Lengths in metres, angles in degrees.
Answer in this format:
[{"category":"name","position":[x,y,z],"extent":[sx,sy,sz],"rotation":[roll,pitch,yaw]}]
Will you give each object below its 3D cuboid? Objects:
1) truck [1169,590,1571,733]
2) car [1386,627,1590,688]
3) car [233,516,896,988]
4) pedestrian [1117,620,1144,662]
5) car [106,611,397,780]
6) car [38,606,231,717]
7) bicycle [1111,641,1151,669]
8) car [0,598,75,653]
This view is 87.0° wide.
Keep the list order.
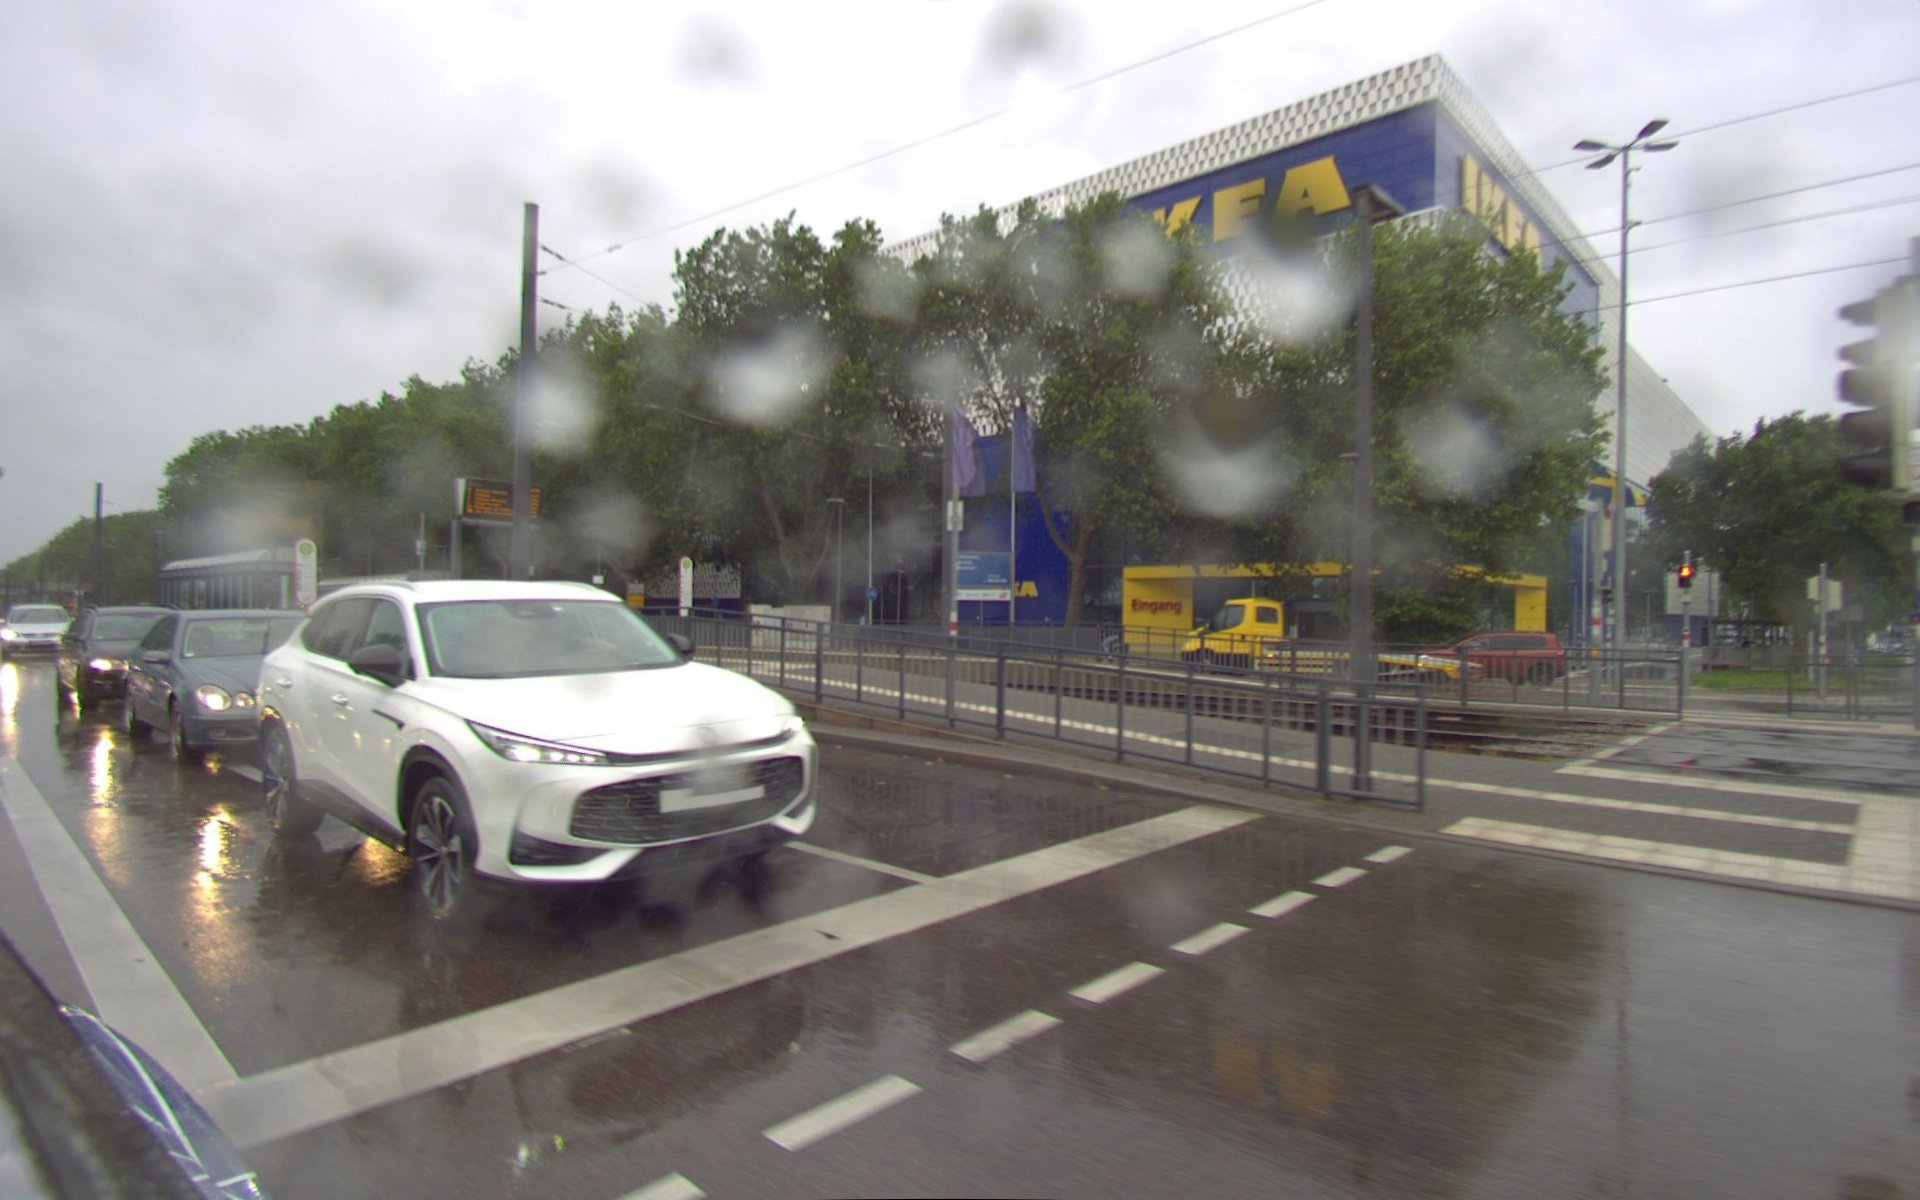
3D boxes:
[{"category":"truck","position":[9.956,1.264,25.653],"extent":[9.098,2.870,2.710],"rotation":[2,2,44]},{"category":"car","position":[15.803,1.706,30.538],"extent":[4.999,1.579,1.996],"rotation":[-2,0,7]},{"category":"car","position":[-2.678,0.605,6.151],"extent":[4.553,1.802,1.967],"rotation":[-1,0,43]},{"category":"pedestrian","position":[5.687,1.363,33.695],"extent":[0.685,1.345,0.572],"rotation":[-1,0,38]},{"category":"car","position":[-7.832,0.867,10.981],"extent":[4.698,1.424,1.692],"rotation":[-1,0,44]},{"category":"car","position":[-13.169,0.878,16.038],"extent":[4.697,1.485,1.729],"rotation":[-1,0,43]},{"category":"bicycle","position":[5.687,1.828,33.701],"extent":[1.174,0.863,0.567],"rotation":[0,0,39]},{"category":"car","position":[-28.348,0.790,30.809],"extent":[4.043,1.536,1.692],"rotation":[-3,-1,43]}]
